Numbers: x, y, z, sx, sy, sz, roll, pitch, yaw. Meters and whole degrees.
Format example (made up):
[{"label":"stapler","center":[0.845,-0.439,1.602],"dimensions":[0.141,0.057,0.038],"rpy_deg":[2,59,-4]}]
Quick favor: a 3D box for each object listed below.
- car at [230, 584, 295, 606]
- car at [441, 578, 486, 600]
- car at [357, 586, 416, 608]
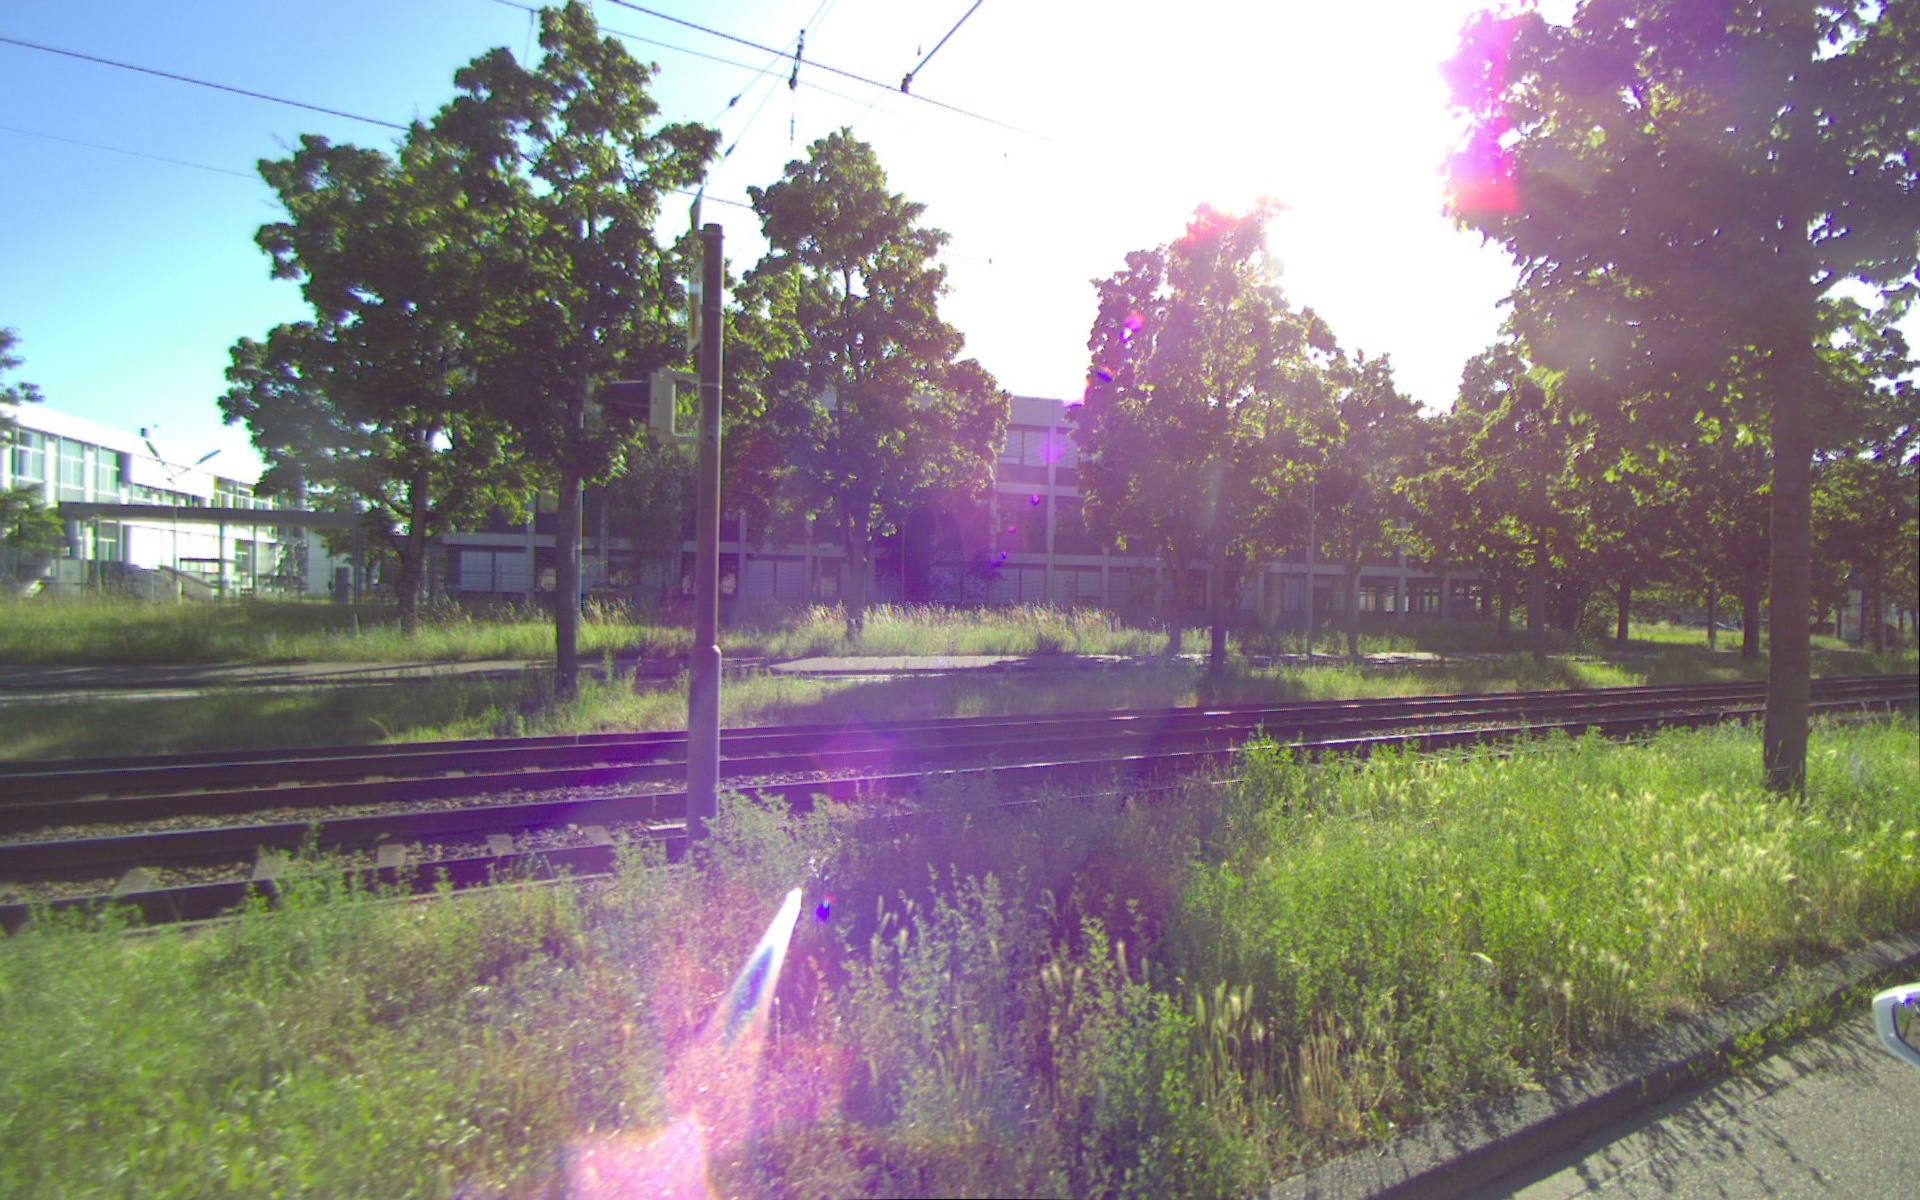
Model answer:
[{"label":"car","center":[-41.275,-0.300,59.517],"dimensions":[1.603,1.259,4.215],"rpy_deg":[1,0,-11]},{"label":"car","center":[-36.784,-0.803,74.525],"dimensions":[1.815,1.513,4.539],"rpy_deg":[1,0,-11]},{"label":"car","center":[-35.880,-0.175,62.941],"dimensions":[1.815,1.284,4.539],"rpy_deg":[1,0,-11]}]
